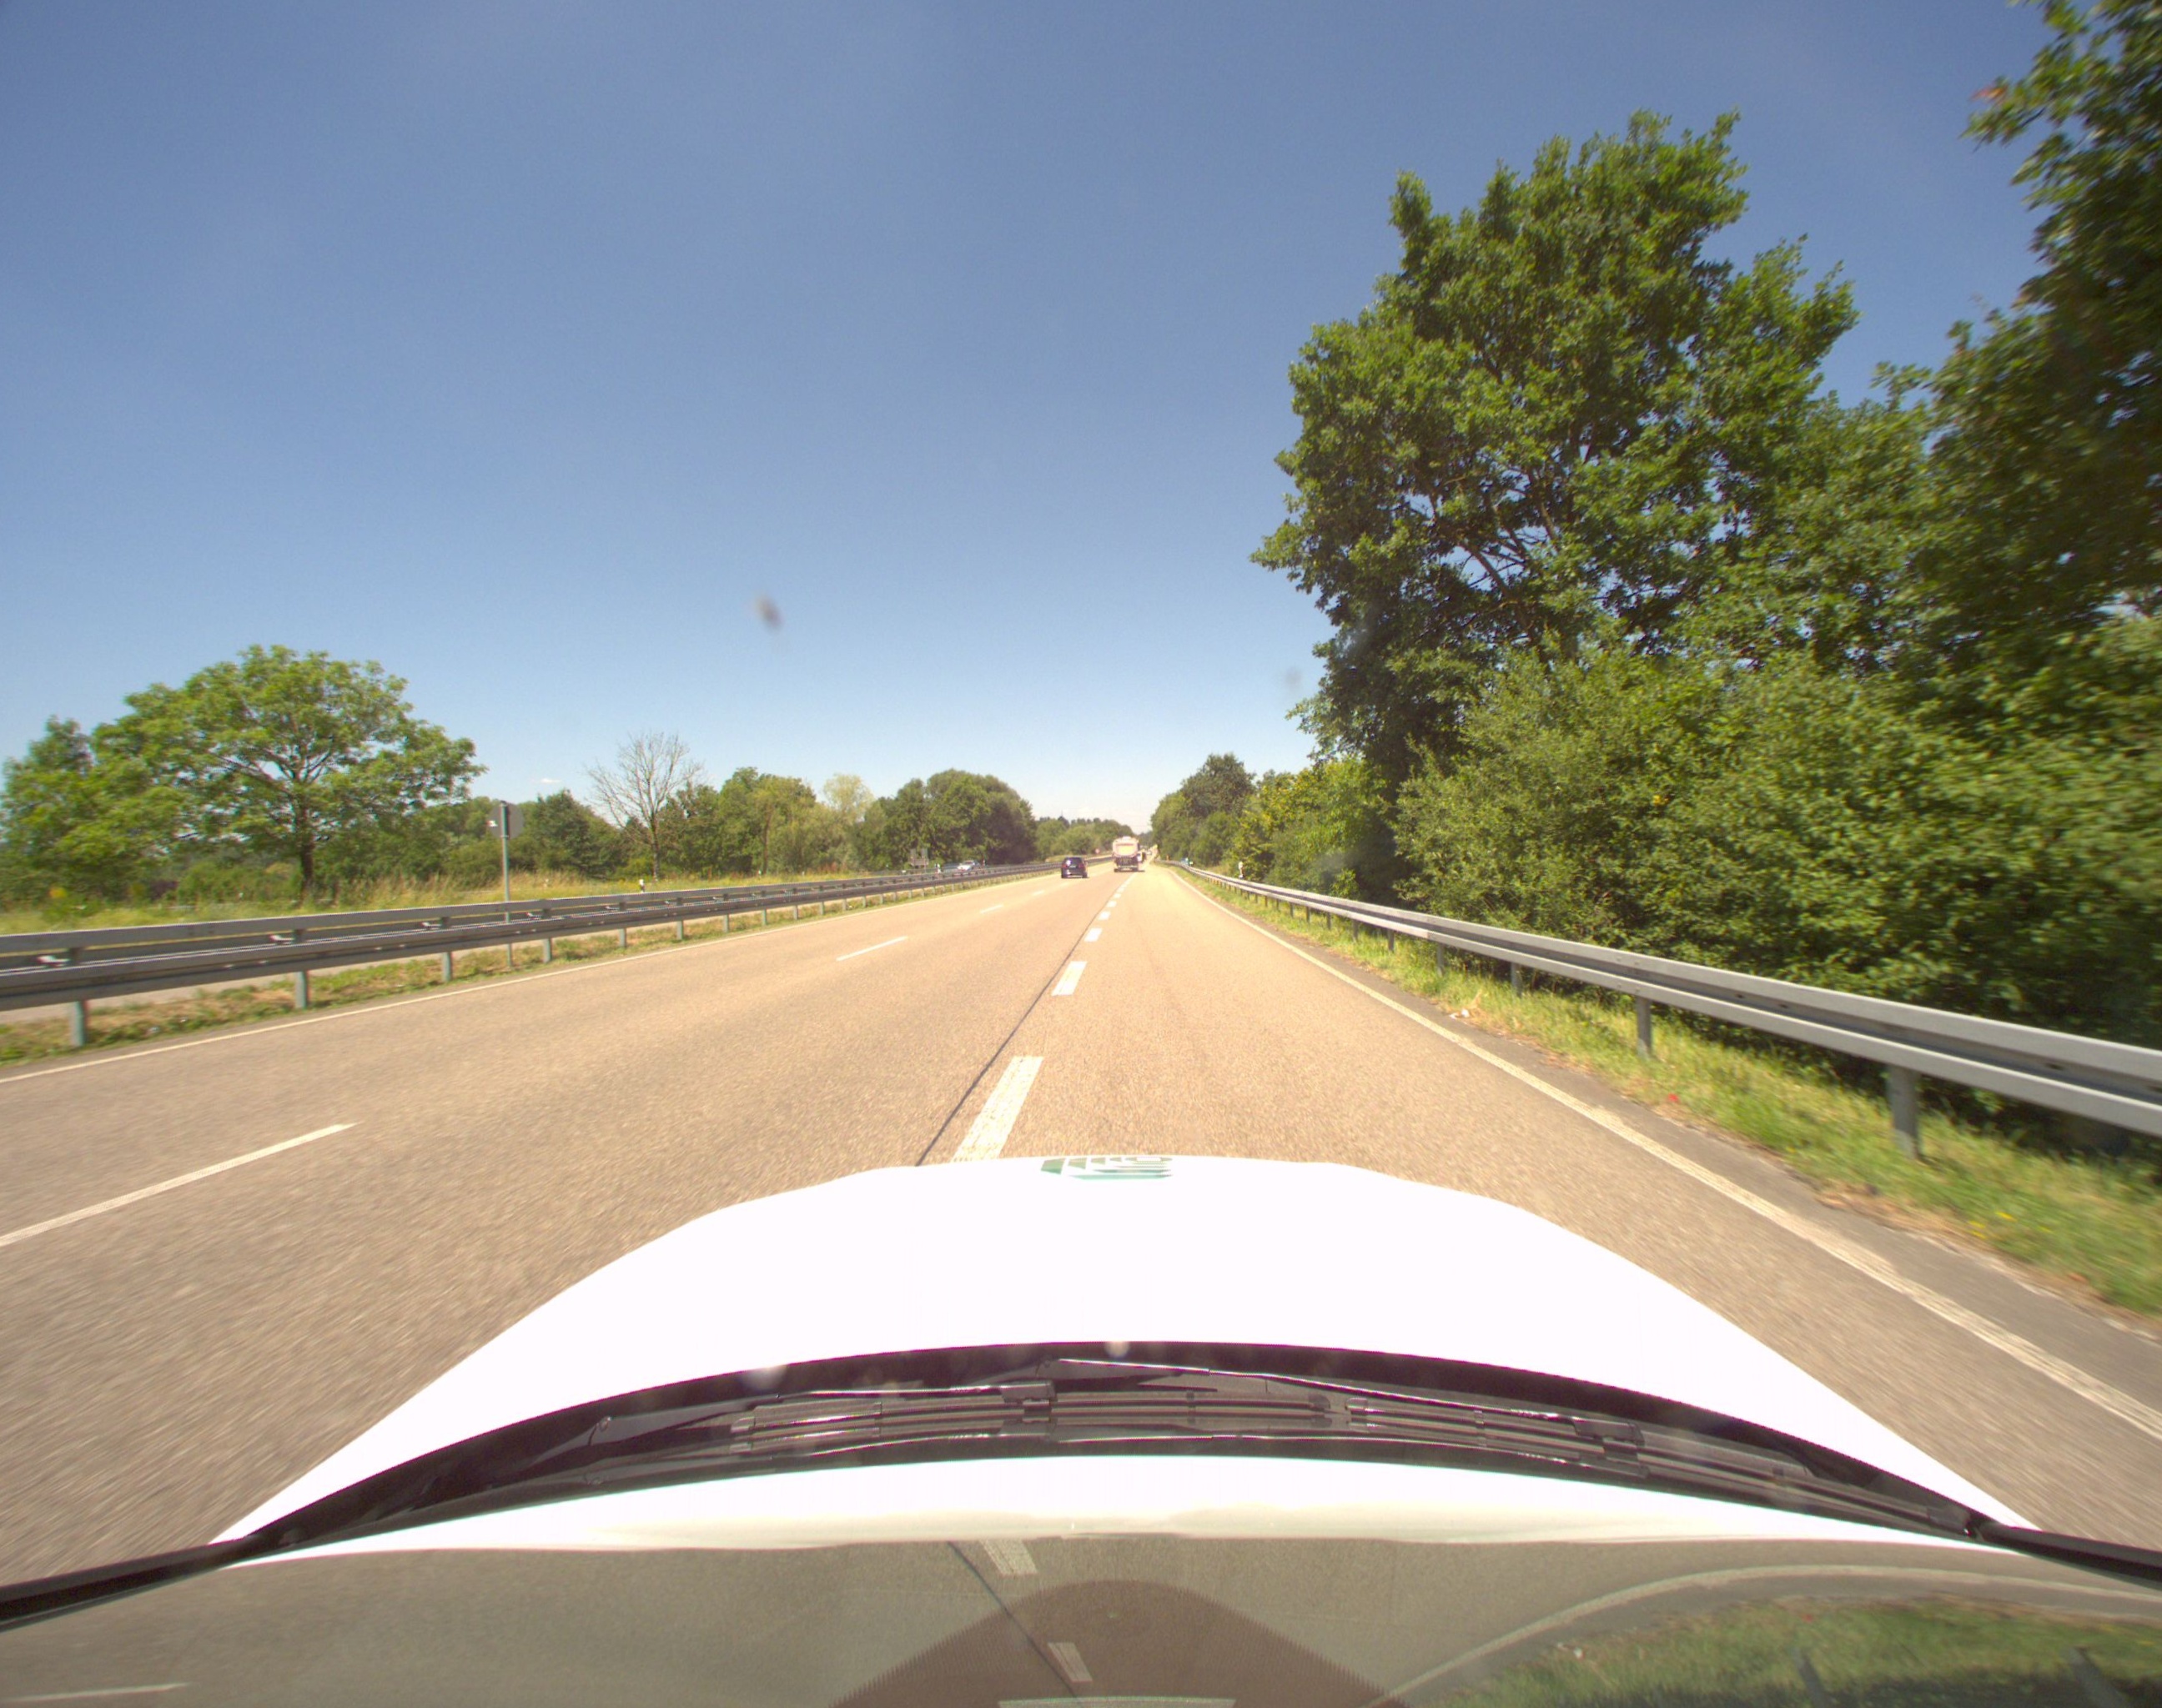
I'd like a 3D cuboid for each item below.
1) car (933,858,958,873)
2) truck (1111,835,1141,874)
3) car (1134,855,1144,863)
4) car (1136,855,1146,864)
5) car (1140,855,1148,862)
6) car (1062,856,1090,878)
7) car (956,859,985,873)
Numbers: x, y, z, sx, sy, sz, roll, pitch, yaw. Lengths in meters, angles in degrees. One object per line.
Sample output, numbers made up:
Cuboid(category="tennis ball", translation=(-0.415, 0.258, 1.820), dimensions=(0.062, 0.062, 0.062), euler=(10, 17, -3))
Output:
Cuboid(category="car", translation=(-13.550, 1.162, 81.635), dimensions=(1.912, 1.489, 3.998), euler=(-1, -1, -1))
Cuboid(category="truck", translation=(4.990, -0.036, 88.017), dimensions=(2.707, 3.930, 12.388), euler=(-1, 1, 5))
Cuboid(category="car", translation=(11.805, 1.014, 165.784), dimensions=(1.849, 1.671, 4.005), euler=(-1, -1, 5))
Cuboid(category="car", translation=(10.759, 1.019, 145.813), dimensions=(1.849, 1.671, 4.005), euler=(-1, -1, 5))
Cuboid(category="car", translation=(14.752, 1.001, 190.446), dimensions=(1.849, 1.671, 4.005), euler=(-1, -1, 5))
Cuboid(category="car", translation=(-0.343, 1.070, 65.046), dimensions=(1.849, 1.671, 4.005), euler=(-1, -1, 5))
Cuboid(category="car", translation=(-13.398, 1.457, 99.126), dimensions=(1.711, 1.645, 4.963), euler=(-1, 0, 16))
